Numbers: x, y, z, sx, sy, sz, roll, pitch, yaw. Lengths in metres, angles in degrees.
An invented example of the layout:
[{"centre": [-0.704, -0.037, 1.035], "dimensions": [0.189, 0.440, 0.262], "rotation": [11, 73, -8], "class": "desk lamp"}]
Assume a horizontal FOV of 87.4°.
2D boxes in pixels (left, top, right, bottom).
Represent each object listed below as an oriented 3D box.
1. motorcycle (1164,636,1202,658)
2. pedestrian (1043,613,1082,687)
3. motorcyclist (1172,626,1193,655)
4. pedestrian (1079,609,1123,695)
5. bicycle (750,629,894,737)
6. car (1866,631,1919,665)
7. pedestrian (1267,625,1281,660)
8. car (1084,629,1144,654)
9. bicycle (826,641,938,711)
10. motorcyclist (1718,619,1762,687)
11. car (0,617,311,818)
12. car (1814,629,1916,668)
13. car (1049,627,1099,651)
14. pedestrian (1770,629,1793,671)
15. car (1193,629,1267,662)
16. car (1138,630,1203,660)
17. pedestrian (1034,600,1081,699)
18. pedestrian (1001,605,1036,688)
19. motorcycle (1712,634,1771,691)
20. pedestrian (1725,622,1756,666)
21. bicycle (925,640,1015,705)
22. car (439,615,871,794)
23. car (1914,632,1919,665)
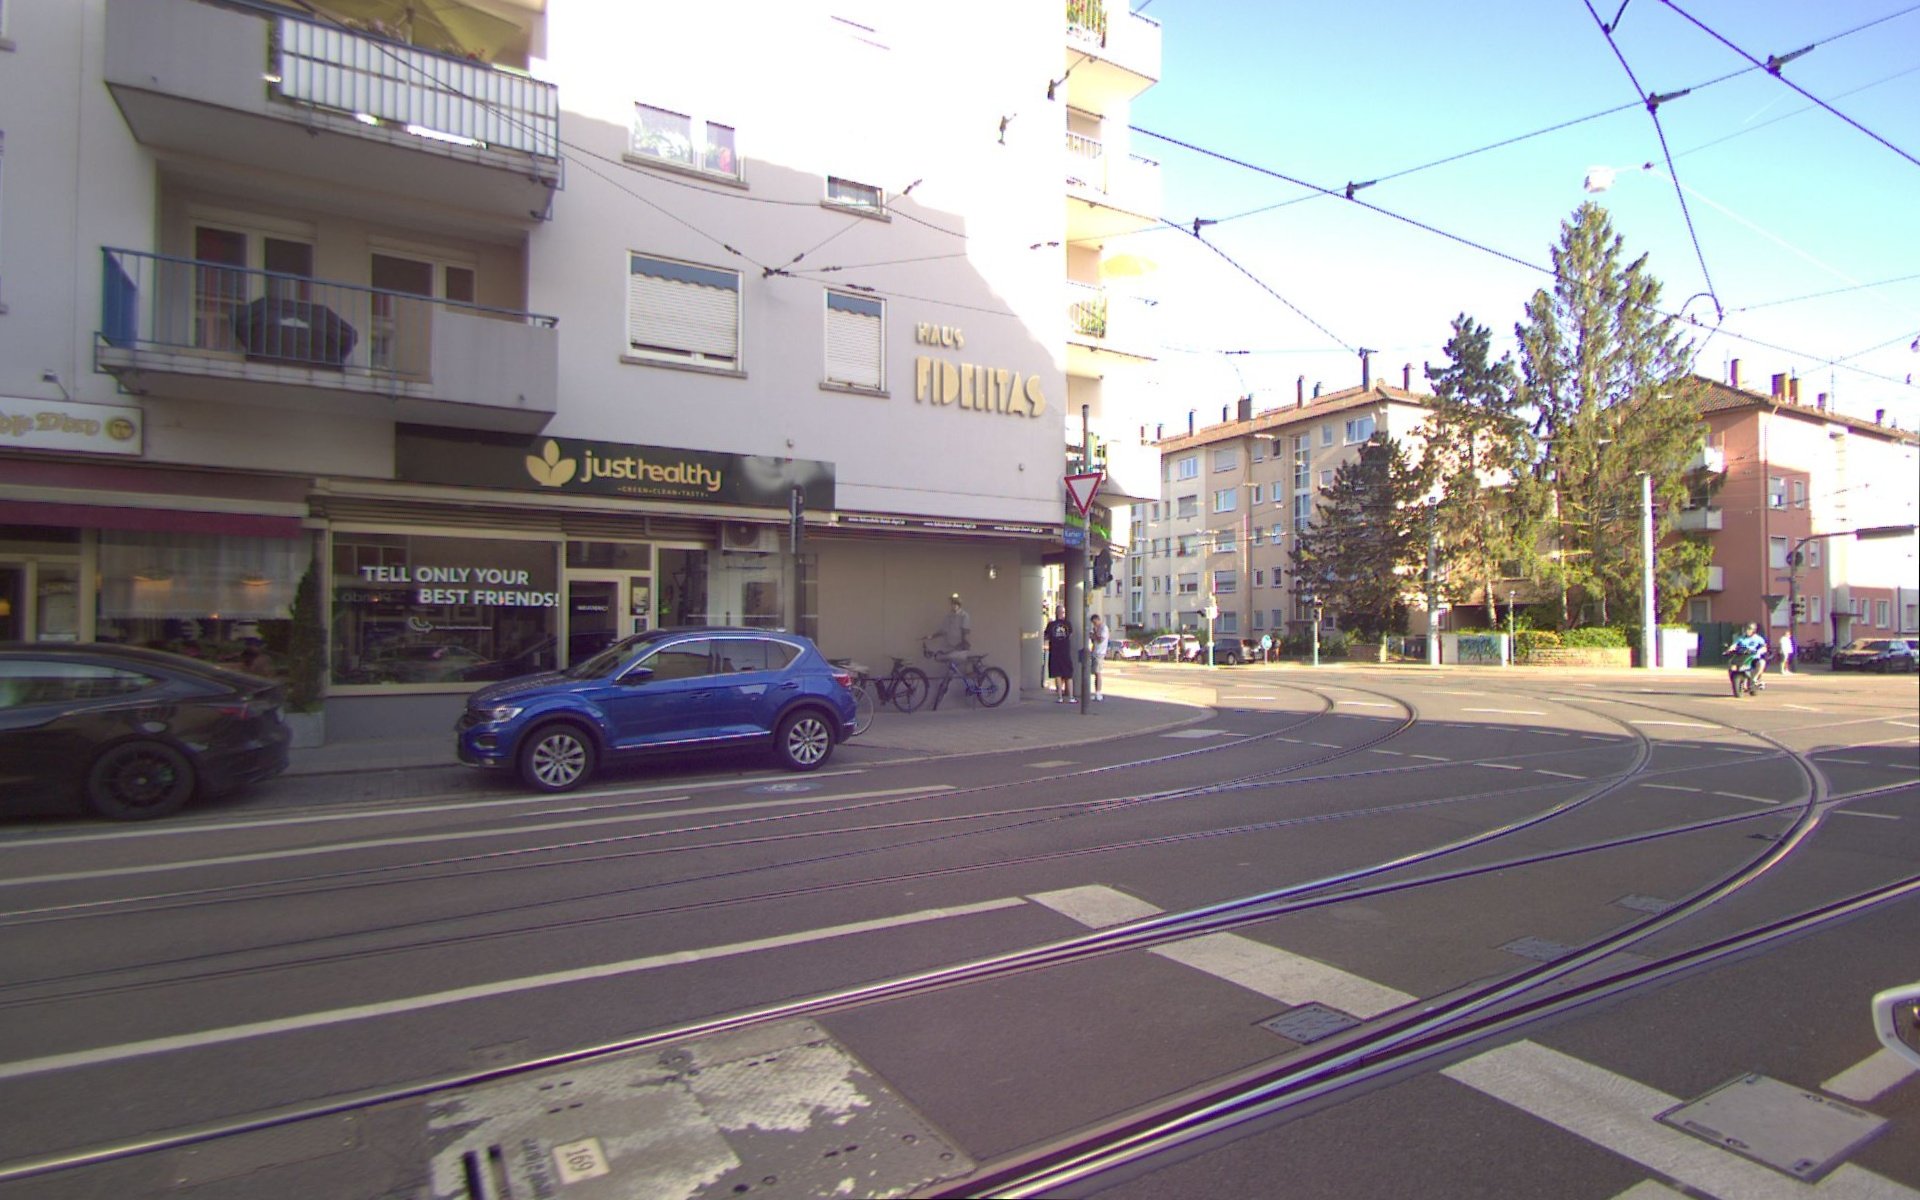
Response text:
[{"centre": [12.127, 2.558, 54.709], "dimensions": [0.849, 1.061, 1.923], "rotation": [1, 0, -34], "class": "motorcycle"}, {"centre": [2.374, 1.175, 23.311], "dimensions": [0.688, 1.672, 0.759], "rotation": [3, -5, -10], "class": "pedestrian"}, {"centre": [12.134, 2.209, 54.698], "dimensions": [0.849, 1.508, 0.722], "rotation": [1, 0, -35], "class": "motorcyclist"}, {"centre": [3.017, 1.099, 21.499], "dimensions": [0.652, 1.816, 0.733], "rotation": [0, -1, -23], "class": "pedestrian"}, {"centre": [-1.807, 1.067, 13.258], "dimensions": [1.776, 1.332, 0.604], "rotation": [1, 0, -31], "class": "bicycle"}, {"centre": [43.745, 2.190, 46.177], "dimensions": [4.052, 1.456, 1.895], "rotation": [2, 0, -29], "class": "car"}, {"centre": [17.335, 2.332, 55.458], "dimensions": [0.686, 1.911, 0.781], "rotation": [1, 0, 19], "class": "pedestrian"}, {"centre": [10.214, 2.753, 66.927], "dimensions": [1.812, 1.498, 4.001], "rotation": [1, 0, -30], "class": "car"}, {"centre": [-1.305, 1.261, 16.900], "dimensions": [1.776, 1.103, 0.604], "rotation": [1, 0, -31], "class": "bicycle"}, {"centre": [17.820, 1.214, 22.941], "dimensions": [0.679, 1.516, 0.687], "rotation": [3, -3, -41], "class": "motorcyclist"}, {"centre": [-8.078, 0.910, 8.318], "dimensions": [4.393, 1.494, 1.760], "rotation": [2, 0, -30], "class": "car"}, {"centre": [39.074, 2.101, 43.353], "dimensions": [4.392, 1.450, 2.142], "rotation": [4, -1, -32], "class": "car"}, {"centre": [8.094, 2.774, 71.639], "dimensions": [1.641, 1.578, 3.760], "rotation": [1, 0, -28], "class": "car"}, {"centre": [32.233, 1.955, 39.408], "dimensions": [0.567, 1.589, 0.514], "rotation": [1, 0, -30], "class": "pedestrian"}, {"centre": [15.328, 2.559, 57.161], "dimensions": [1.847, 1.650, 4.046], "rotation": [1, 0, -26], "class": "car"}, {"centre": [12.936, 2.734, 61.910], "dimensions": [1.752, 1.619, 4.001], "rotation": [1, 0, -30], "class": "car"}, {"centre": [1.946, 0.980, 20.045], "dimensions": [0.726, 1.925, 0.573], "rotation": [3, -2, -12], "class": "pedestrian"}, {"centre": [1.362, 1.061, 23.294], "dimensions": [0.592, 1.880, 0.514], "rotation": [1, 0, -34], "class": "pedestrian"}, {"centre": [17.816, 1.435, 22.884], "dimensions": [1.951, 1.236, 0.705], "rotation": [4, -3, -41], "class": "motorcycle"}, {"centre": [32.288, 1.812, 41.560], "dimensions": [0.768, 1.745, 0.705], "rotation": [1, 0, 14], "class": "pedestrian"}, {"centre": [0.187, 1.287, 18.053], "dimensions": [1.520, 1.121, 0.549], "rotation": [1, 0, -28], "class": "bicycle"}, {"centre": [-3.225, 0.968, 10.888], "dimensions": [4.191, 1.524, 1.759], "rotation": [0, 1, -33], "class": "car"}, {"centre": [47.920, 2.370, 48.392], "dimensions": [4.180, 1.546, 1.733], "rotation": [2, 0, -31], "class": "car"}]
